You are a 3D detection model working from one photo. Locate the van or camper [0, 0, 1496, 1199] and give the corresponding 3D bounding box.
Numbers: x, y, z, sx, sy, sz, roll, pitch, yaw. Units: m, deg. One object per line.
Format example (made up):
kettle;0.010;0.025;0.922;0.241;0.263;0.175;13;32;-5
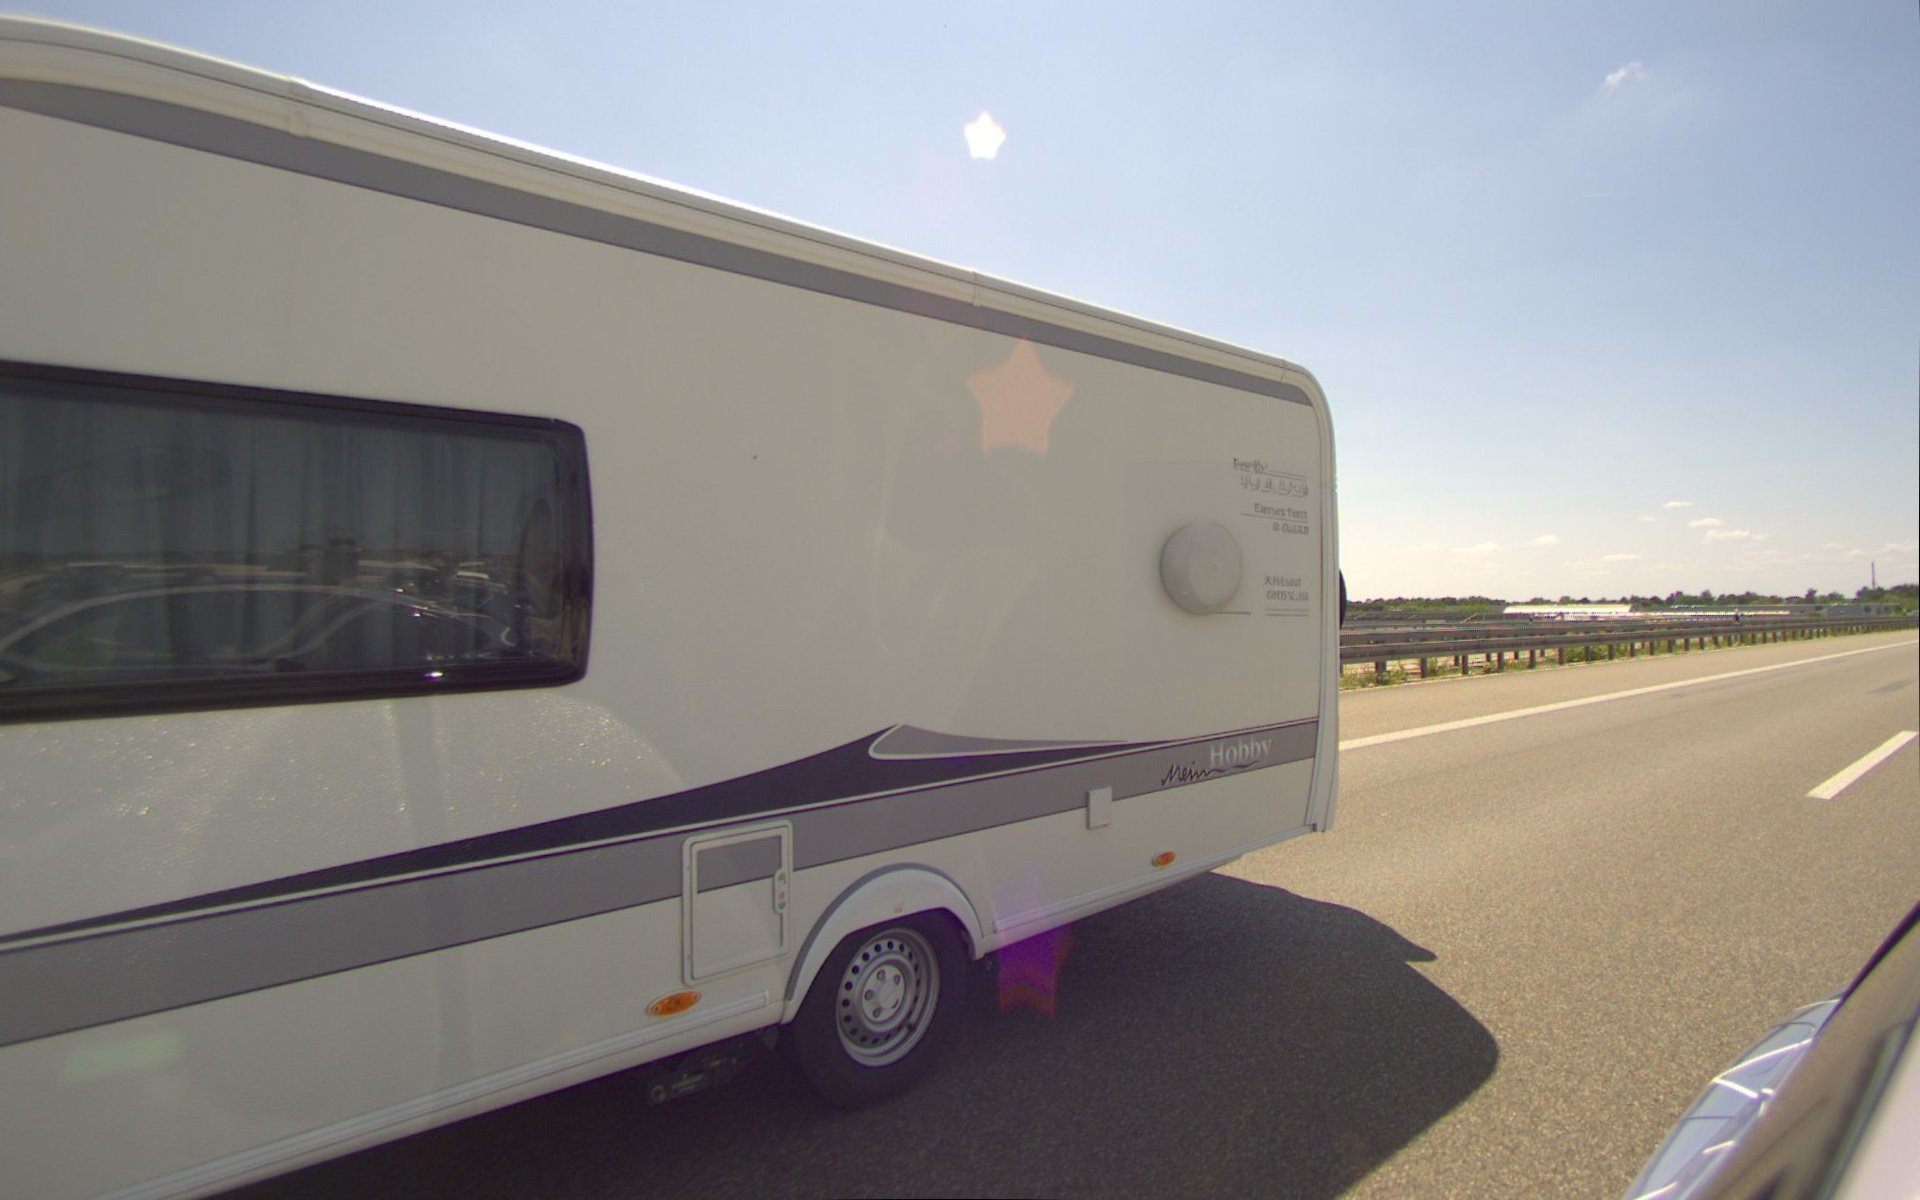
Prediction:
van or camper;-0.797;0.105;3.919;7.680;2.626;2.516;1;0;-41
